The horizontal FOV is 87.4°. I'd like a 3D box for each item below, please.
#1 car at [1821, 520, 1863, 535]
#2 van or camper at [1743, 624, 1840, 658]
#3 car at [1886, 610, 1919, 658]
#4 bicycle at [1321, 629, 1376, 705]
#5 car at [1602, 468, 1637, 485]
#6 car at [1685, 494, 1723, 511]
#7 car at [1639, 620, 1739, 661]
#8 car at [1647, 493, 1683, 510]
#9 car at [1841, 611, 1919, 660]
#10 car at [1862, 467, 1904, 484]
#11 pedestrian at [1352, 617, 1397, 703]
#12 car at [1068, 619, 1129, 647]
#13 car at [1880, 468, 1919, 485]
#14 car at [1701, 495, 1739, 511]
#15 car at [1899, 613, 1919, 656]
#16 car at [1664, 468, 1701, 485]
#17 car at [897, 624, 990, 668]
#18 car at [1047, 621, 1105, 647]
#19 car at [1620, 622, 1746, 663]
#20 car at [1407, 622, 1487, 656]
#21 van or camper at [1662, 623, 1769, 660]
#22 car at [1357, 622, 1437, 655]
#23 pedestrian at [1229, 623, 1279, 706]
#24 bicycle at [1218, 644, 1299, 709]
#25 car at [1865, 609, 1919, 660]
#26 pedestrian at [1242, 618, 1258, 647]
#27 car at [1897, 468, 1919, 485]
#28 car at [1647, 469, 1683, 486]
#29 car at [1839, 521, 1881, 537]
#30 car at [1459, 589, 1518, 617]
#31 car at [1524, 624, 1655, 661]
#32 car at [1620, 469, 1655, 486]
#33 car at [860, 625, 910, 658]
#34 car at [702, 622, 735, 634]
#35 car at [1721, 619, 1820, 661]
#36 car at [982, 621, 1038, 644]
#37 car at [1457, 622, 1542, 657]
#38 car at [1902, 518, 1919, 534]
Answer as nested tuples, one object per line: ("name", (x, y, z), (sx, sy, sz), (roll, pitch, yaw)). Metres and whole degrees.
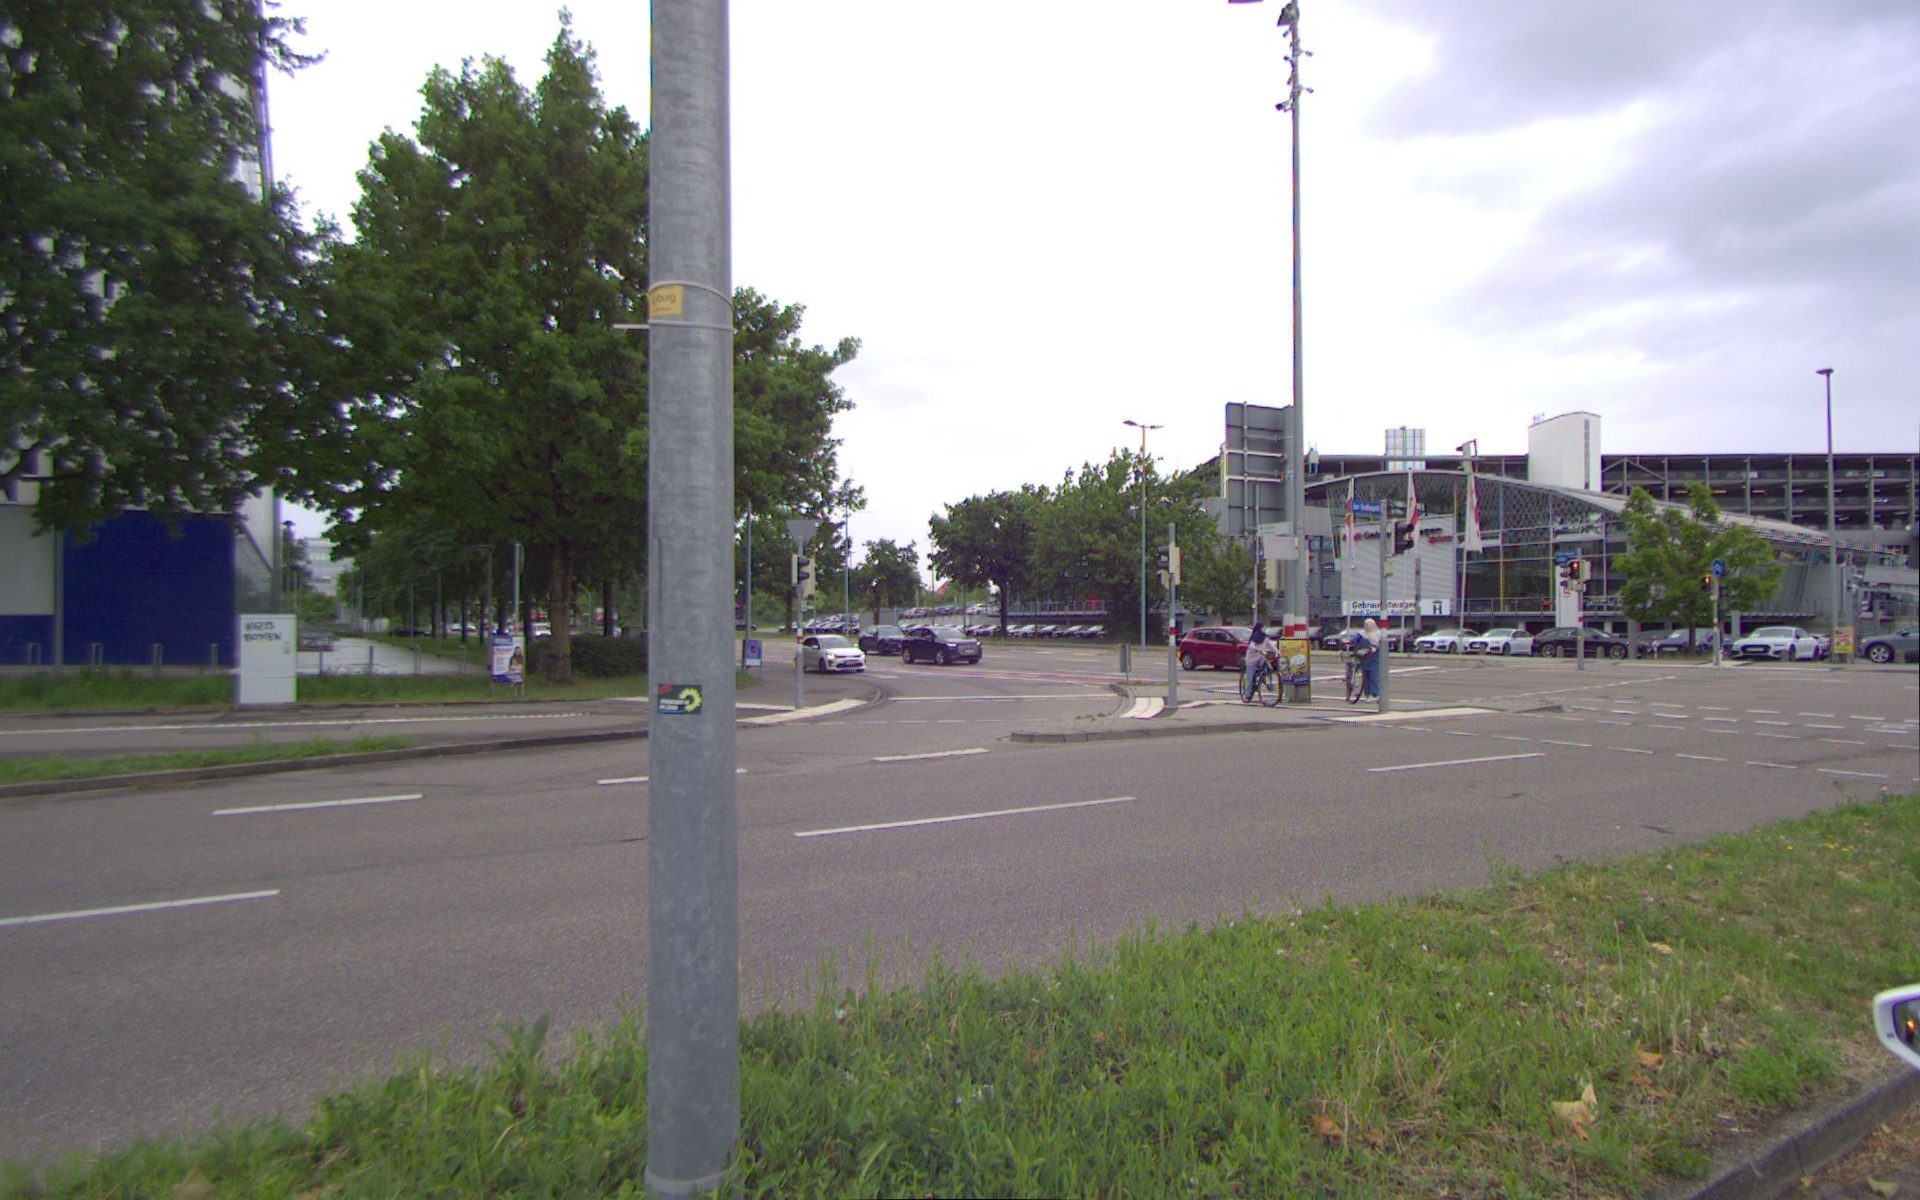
("car", (114.176, -9.368, 130.085), (1.960, 1.689, 4.001), (1, 0, 2))
("van or camper", (47.806, 2.347, 57.816), (1.828, 1.734, 3.963), (2, 0, -33))
("car", (42.273, 1.402, 41.872), (2.243, 2.040, 4.993), (2, -4, -34))
("bicycle", (7.587, 1.307, 19.687), (0.585, 1.414, 1.936), (-2, -4, 10))
("car", (86.130, -16.088, 131.206), (1.960, 1.689, 4.001), (1, 0, 2))
("car", (96.460, -12.625, 130.263), (1.960, 1.689, 4.001), (1, 0, 2))
("car", (30.501, 1.745, 42.010), (4.473, 1.505, 2.050), (4, -5, -35))
("car", (91.572, -12.772, 130.566), (1.960, 1.689, 4.001), (1, 0, 2))
("car", (37.587, 1.387, 38.958), (1.979, 1.887, 4.744), (2, -4, -34))
("car", (119.354, -16.100, 129.936), (1.960, 1.689, 4.001), (1, 0, 2))
("pedestrian", (8.118, 1.181, 19.680), (0.628, 1.647, 0.693), (-2, -4, 11))
("car", (10.213, 2.448, 74.159), (4.210, 1.622, 1.858), (8, -4, -34))
("car", (122.113, -16.058, 130.300), (1.960, 1.689, 4.001), (1, 0, 2))
("car", (98.645, -12.563, 130.368), (1.960, 1.689, 4.001), (1, 0, 2))
("car", (44.305, 1.461, 43.562), (2.034, 1.900, 4.914), (2, -4, -35))
("car", (94.068, -16.065, 130.790), (1.960, 1.689, 4.001), (1, 0, 2))
("car", (-0.781, 1.939, 43.090), (1.867, 1.659, 4.292), (-3, 0, -35))
("car", (8.843, 2.574, 76.439), (4.181, 1.504, 1.808), (8, -4, -34))
("car", (36.275, 2.083, 50.522), (1.978, 1.965, 4.776), (1, -2, -32))
("car", (24.498, 1.962, 50.506), (4.002, 1.505, 1.860), (4, -3, -33))
("van or camper", (38.898, 2.114, 51.779), (1.979, 1.700, 3.963), (2, 0, -33))
("car", (22.997, 2.019, 52.801), (4.188, 1.505, 1.855), (4, -3, -33))
("pedestrian", (5.719, 1.244, 19.546), (0.643, 1.569, 0.647), (3, -2, -18))
("bicycle", (5.783, 1.455, 19.569), (0.500, 1.181, 1.940), (3, -3, -17))
("car", (39.724, 1.379, 40.341), (1.979, 2.040, 4.674), (2, -4, -34))
("pedestrian", (18.714, 2.097, 64.756), (0.666, 1.895, 0.713), (3, -2, -31))
("car", (124.357, -16.073, 130.277), (1.960, 1.689, 4.001), (1, 0, 2))
("car", (91.700, -15.921, 130.619), (1.960, 1.689, 4.001), (1, 0, 2))
("car", (116.786, -9.212, 130.325), (1.960, 1.689, 4.001), (1, 0, 2))
("car", (34.728, 0.202, 65.992), (3.960, 1.684, 1.807), (2, 0, -35))
("car", (28.386, 1.894, 45.456), (1.873, 1.505, 4.713), (4, -4, -32))
("car", (88.524, -16.014, 131.314), (1.960, 1.689, 4.001), (1, 0, 2))
("car", (-3.947, 2.141, 52.095), (1.854, 1.565, 4.586), (-2, -1, -14))
("car", (-31.875, 3.707, 132.694), (3.949, 1.455, 1.718), (2, 0, -27))
("car", (32.016, 1.601, 39.655), (4.184, 1.505, 1.858), (3, -3, -33))
("car", (4.142, 2.716, 82.831), (4.153, 1.505, 1.959), (7, -3, -33))
("car", (26.024, 1.902, 48.444), (4.154, 1.505, 1.836), (4, -3, -33))
("car", (126.693, -9.760, 131.284), (2.167, 1.971, 5.331), (1, 0, -1))
